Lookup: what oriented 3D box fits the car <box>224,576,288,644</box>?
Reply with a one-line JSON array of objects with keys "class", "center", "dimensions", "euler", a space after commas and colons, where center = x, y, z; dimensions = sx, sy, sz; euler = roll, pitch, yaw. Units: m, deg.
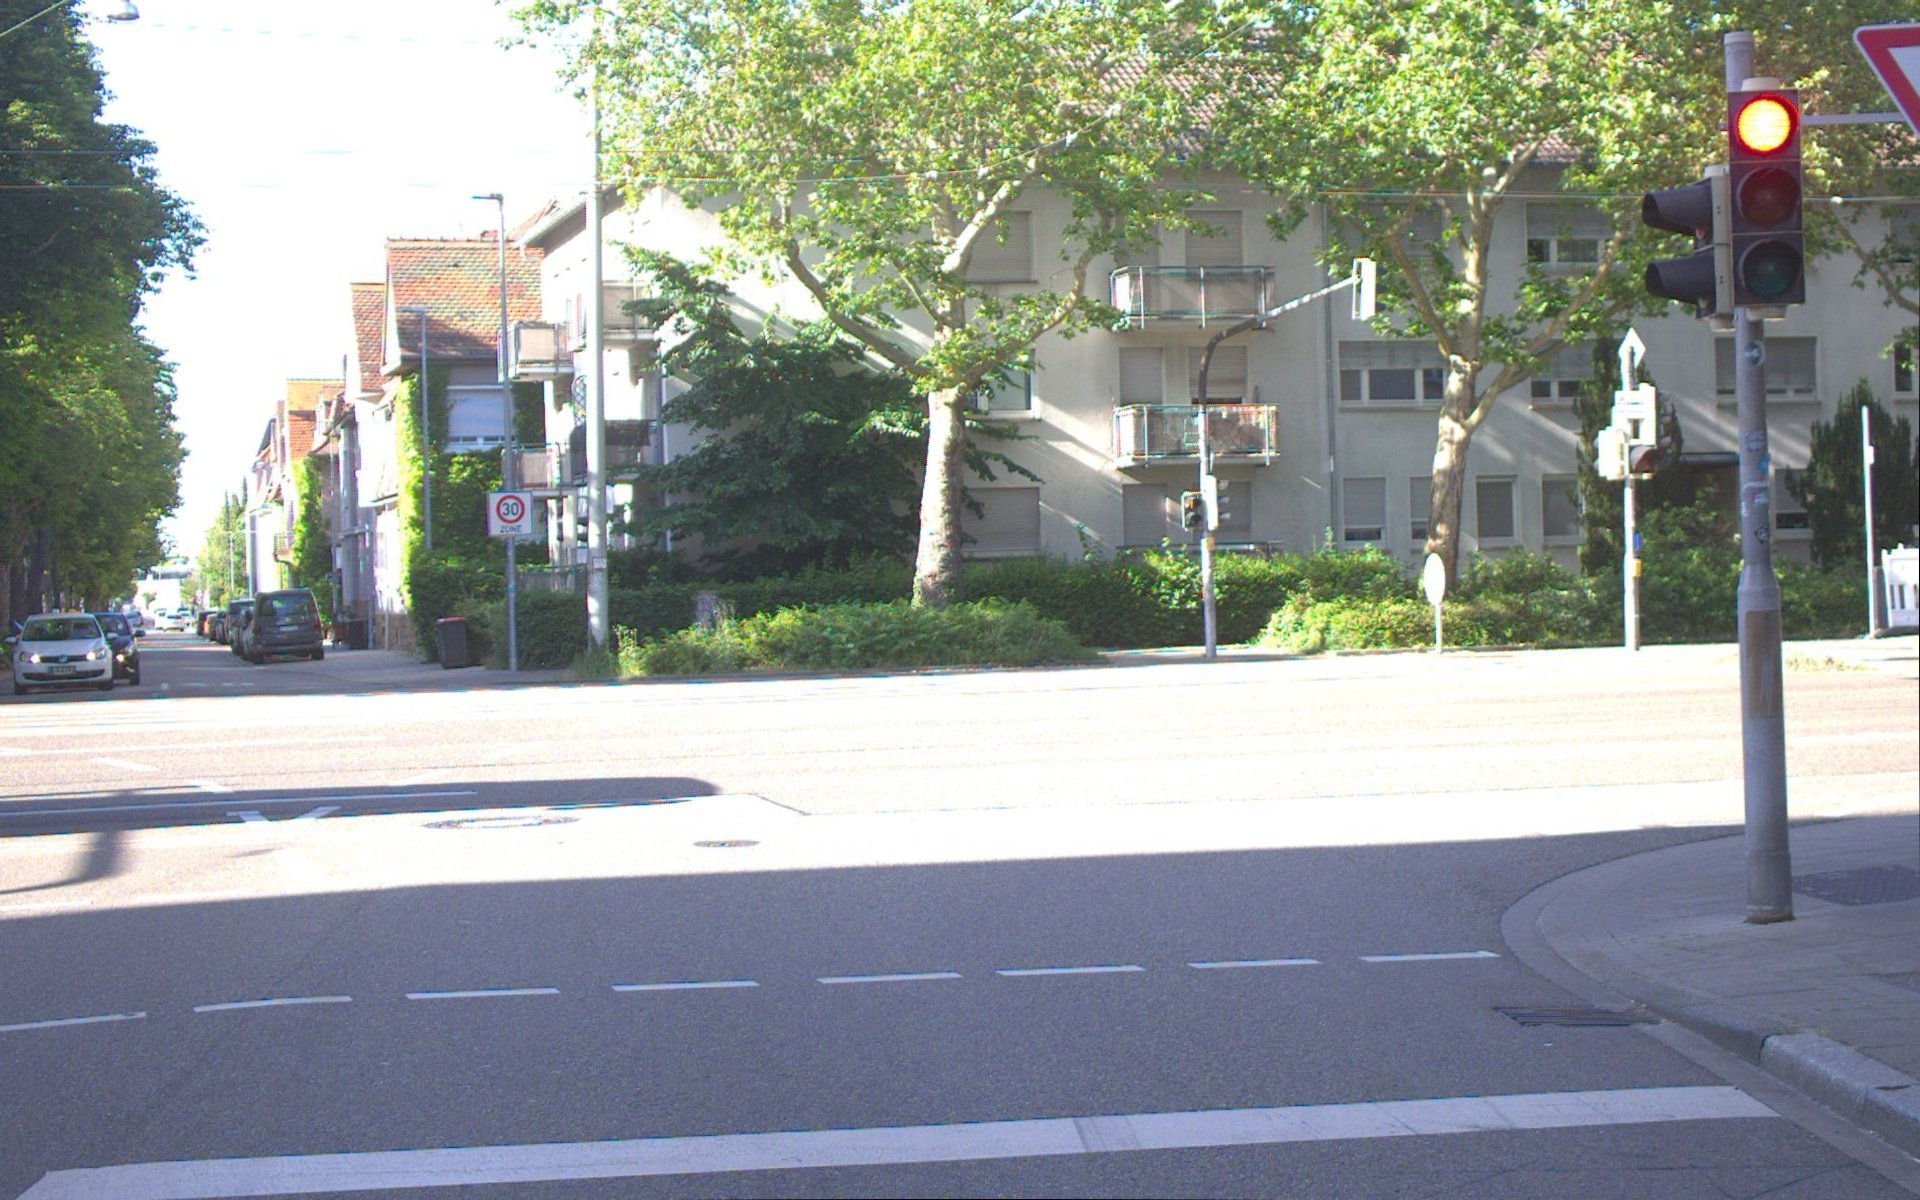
[{"class": "car", "center": [-21.448, 0.275, 104.643], "dimensions": [1.772, 1.912, 3.535], "euler": [-3, 1, -12]}]

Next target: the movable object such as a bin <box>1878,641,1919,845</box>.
[{"class": "movable object such as a bin", "center": [4.645, 0.625, 15.413], "dimensions": [0.861, 0.889, 0.509], "euler": [-2, 1, -13]}]

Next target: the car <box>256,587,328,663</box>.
[{"class": "car", "center": [-18.385, 0.666, 94.528], "dimensions": [1.772, 1.912, 3.535], "euler": [-3, 1, -12]}]

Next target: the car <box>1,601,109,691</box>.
[{"class": "car", "center": [-16.645, 0.820, 63.357], "dimensions": [1.698, 1.478, 3.535], "euler": [-3, 1, -12]}]

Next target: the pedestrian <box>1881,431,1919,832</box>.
[{"class": "pedestrian", "center": [4.935, 0.142, 15.921], "dimensions": [1.065, 1.842, 0.749], "euler": [0, 1, -13]}]

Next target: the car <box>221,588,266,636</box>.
[{"class": "car", "center": [-30.523, 0.499, 146.439], "dimensions": [1.772, 1.912, 3.535], "euler": [-3, 1, -12]}]

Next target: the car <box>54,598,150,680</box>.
[{"class": "car", "center": [-17.281, 0.756, 69.358], "dimensions": [1.698, 1.478, 3.535], "euler": [-3, 1, -12]}]
